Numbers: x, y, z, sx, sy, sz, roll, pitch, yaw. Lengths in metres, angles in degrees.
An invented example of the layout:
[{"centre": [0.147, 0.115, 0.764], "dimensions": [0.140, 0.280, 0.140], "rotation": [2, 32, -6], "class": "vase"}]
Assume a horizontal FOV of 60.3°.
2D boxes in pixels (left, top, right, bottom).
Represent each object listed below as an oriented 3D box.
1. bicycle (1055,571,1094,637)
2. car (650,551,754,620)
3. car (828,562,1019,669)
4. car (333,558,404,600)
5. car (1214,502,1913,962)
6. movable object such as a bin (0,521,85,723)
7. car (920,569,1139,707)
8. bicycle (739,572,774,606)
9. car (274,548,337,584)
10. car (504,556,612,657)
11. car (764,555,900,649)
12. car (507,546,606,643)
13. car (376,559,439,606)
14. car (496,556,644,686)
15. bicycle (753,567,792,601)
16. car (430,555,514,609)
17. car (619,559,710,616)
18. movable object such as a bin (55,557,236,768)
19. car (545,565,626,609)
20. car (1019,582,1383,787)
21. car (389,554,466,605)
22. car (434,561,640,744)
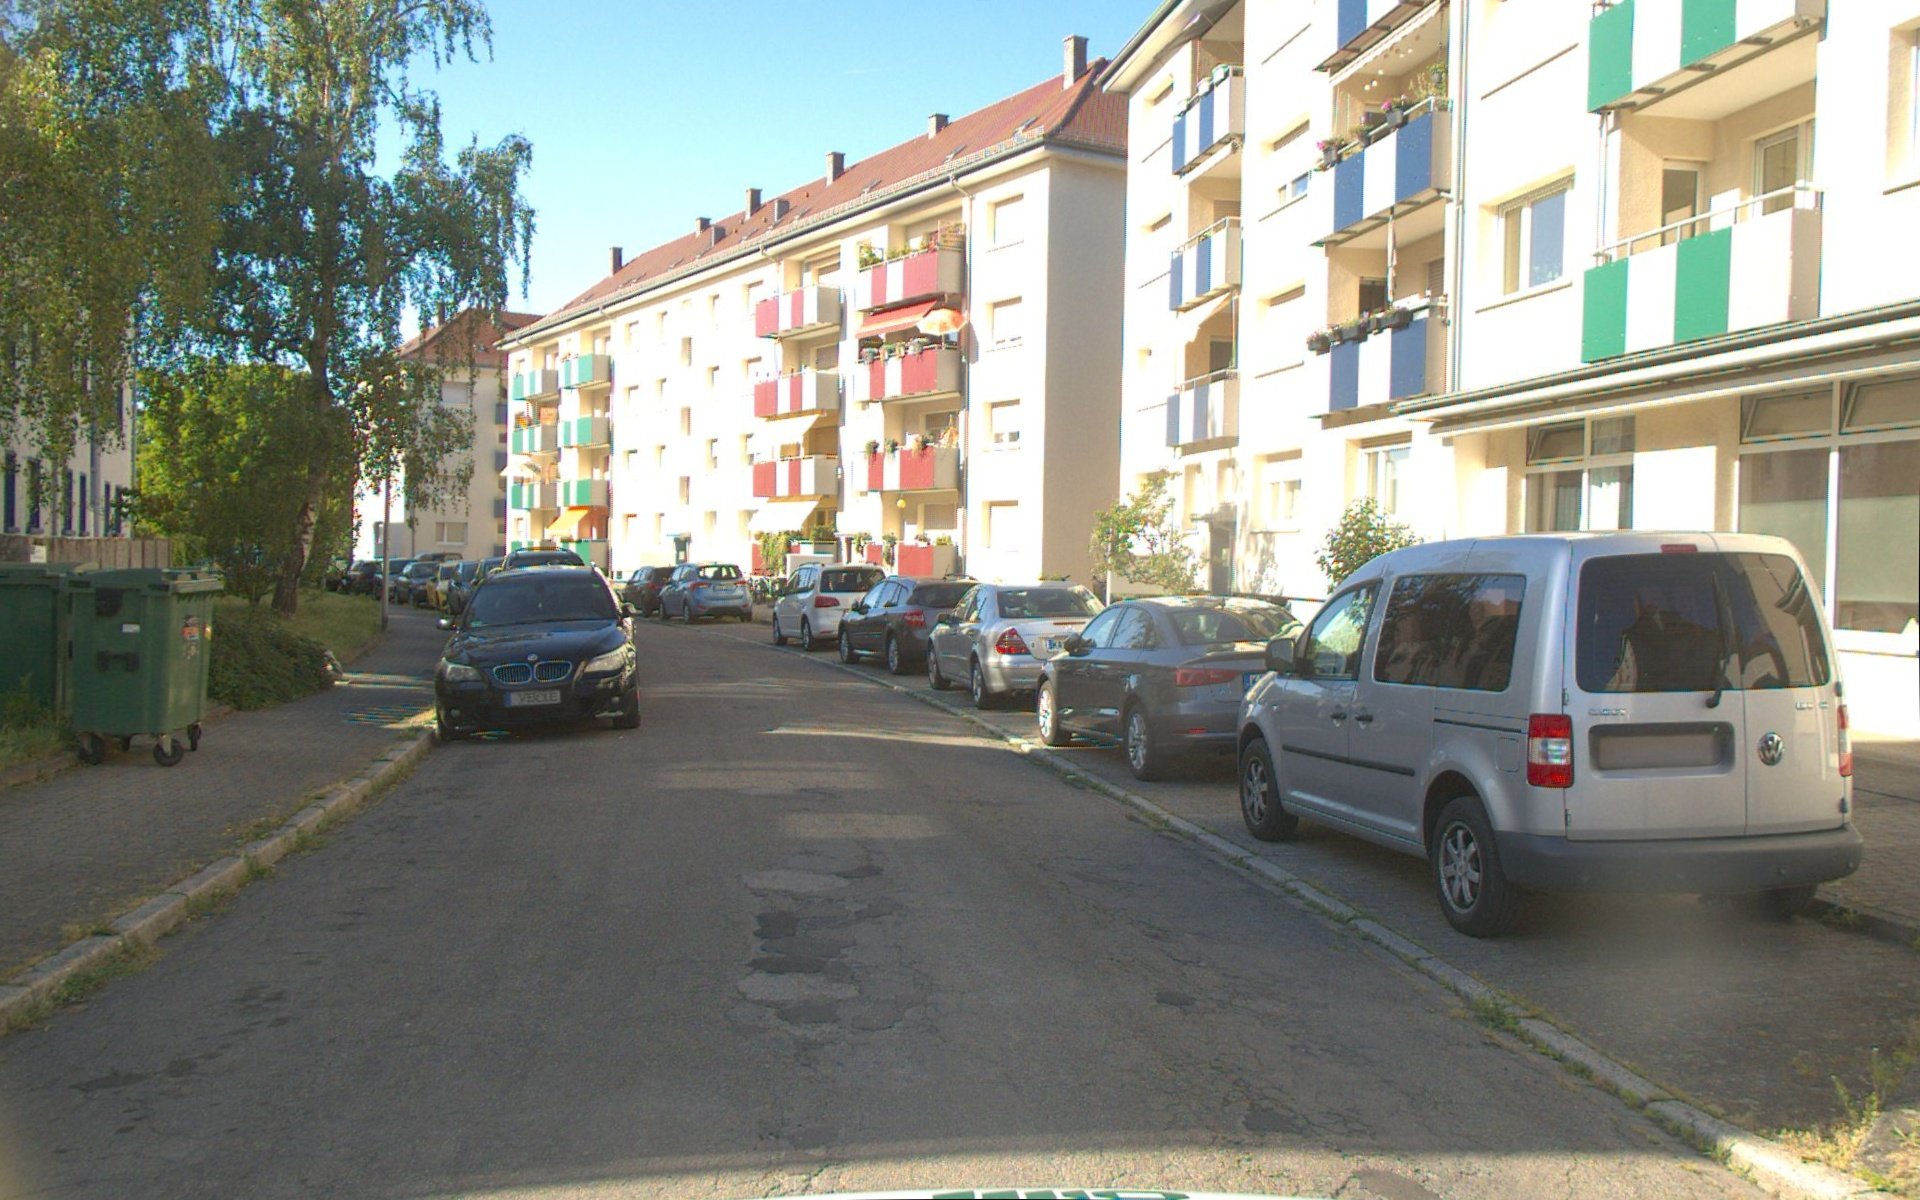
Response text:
[{"centre": [2.259, 0.066, 32.654], "dimensions": [0.504, 1.223, 1.760], "rotation": [-1, 2, -4], "class": "bicycle"}, {"centre": [-7.038, -0.441, 44.770], "dimensions": [1.743, 1.663, 4.010], "rotation": [-2, 3, -25], "class": "car"}, {"centre": [-0.696, 0.226, 26.379], "dimensions": [1.669, 1.456, 4.662], "rotation": [-3, 1, -19], "class": "car"}, {"centre": [-22.316, -0.832, 62.314], "dimensions": [1.725, 1.456, 4.552], "rotation": [-3, 3, -30], "class": "car"}, {"centre": [2.901, 0.479, 9.014], "dimensions": [1.715, 1.855, 4.122], "rotation": [-2, 2, -10], "class": "car"}, {"centre": [-7.099, 0.134, 11.886], "dimensions": [1.196, 1.404, 0.767], "rotation": [1, 1, -4], "class": "movable object such as a bin"}, {"centre": [0.727, 0.384, 20.698], "dimensions": [1.648, 1.472, 4.711], "rotation": [0, 2, -12], "class": "car"}, {"centre": [-6.613, -0.359, 53.584], "dimensions": [0.492, 1.037, 1.825], "rotation": [-2, 2, -28], "class": "bicycle"}, {"centre": [-28.252, -1.472, 71.362], "dimensions": [1.645, 1.468, 3.823], "rotation": [-2, 2, -35], "class": "car"}, {"centre": [-6.553, 0.042, 26.866], "dimensions": [1.529, 1.467, 3.953], "rotation": [-3, 2, -14], "class": "car"}, {"centre": [-2.613, -0.022, 32.853], "dimensions": [1.668, 1.684, 4.367], "rotation": [-1, 2, -19], "class": "car"}, {"centre": [-8.064, -0.156, 32.822], "dimensions": [1.531, 1.744, 4.316], "rotation": [-3, 2, -18], "class": "car"}, {"centre": [-19.319, -0.623, 57.790], "dimensions": [1.462, 1.502, 3.599], "rotation": [-4, 3, -27], "class": "car"}, {"centre": [-5.153, 0.191, 21.727], "dimensions": [1.650, 1.467, 4.264], "rotation": [-3, 2, -14], "class": "car"}, {"centre": [-6.149, -0.534, 54.200], "dimensions": [0.610, 0.995, 1.879], "rotation": [-3, 5, -27], "class": "bicycle"}, {"centre": [-13.651, -0.537, 46.156], "dimensions": [1.672, 1.413, 4.124], "rotation": [-1, 2, -25], "class": "car"}, {"centre": [-8.872, -0.410, 49.470], "dimensions": [1.713, 1.534, 3.855], "rotation": [-3, 3, -25], "class": "car"}, {"centre": [-5.832, 0.407, 11.926], "dimensions": [0.761, 1.417, 1.415], "rotation": [0, 1, -8], "class": "movable object such as a bin"}, {"centre": [-13.342, -0.485, 58.794], "dimensions": [1.667, 1.387, 4.198], "rotation": [-3, 3, -29], "class": "car"}, {"centre": [1.911, 0.606, 14.649], "dimensions": [1.649, 1.431, 4.531], "rotation": [0, 2, -13], "class": "car"}, {"centre": [-17.006, -0.683, 52.731], "dimensions": [1.551, 1.490, 4.222], "rotation": [-2, 3, -28], "class": "car"}, {"centre": [-4.089, 0.393, 16.578], "dimensions": [1.648, 1.478, 4.609], "rotation": [-2, 2, -11], "class": "car"}]
